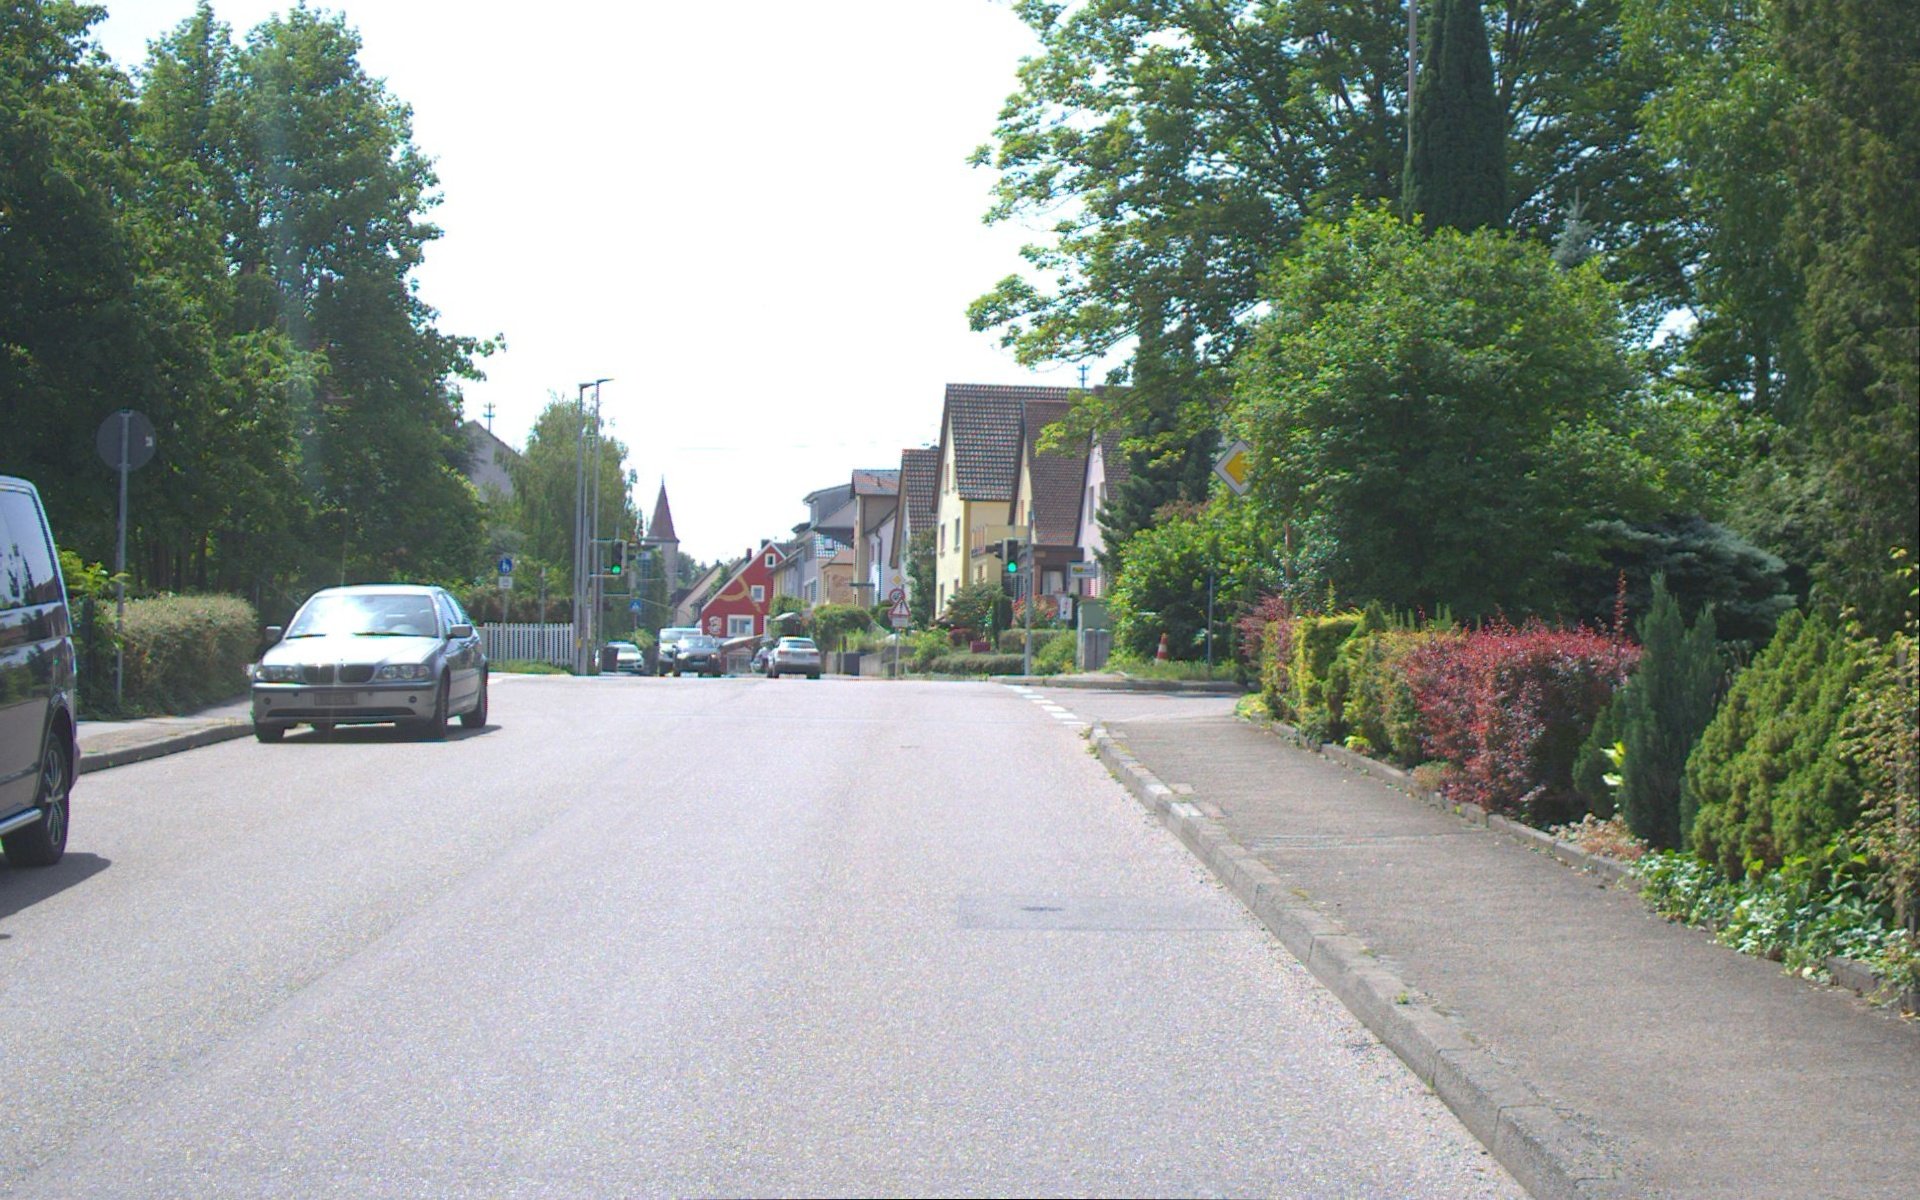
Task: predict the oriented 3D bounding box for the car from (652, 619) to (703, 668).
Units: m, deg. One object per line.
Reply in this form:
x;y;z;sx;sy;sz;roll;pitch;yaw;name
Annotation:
-11.987;1.857;145.792;1.879;1.958;4.903;-1;-2;-8;car

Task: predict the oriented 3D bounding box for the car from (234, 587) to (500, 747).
-5.498;0.604;32.388;1.780;1.390;4.409;0;0;-1;car

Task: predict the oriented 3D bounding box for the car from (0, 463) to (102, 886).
-5.288;0.351;15.373;1.896;1.913;4.871;-1;1;-3;car

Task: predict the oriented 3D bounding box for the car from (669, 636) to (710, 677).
-10.601;2.205;134.504;1.534;1.536;4.305;1;0;-5;car

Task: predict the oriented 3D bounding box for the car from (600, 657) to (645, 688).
-17.643;3.801;180.097;2.110;1.555;4.314;1;-1;-3;car

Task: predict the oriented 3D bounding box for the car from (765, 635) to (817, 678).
-6.591;2.198;134.467;1.993;1.598;4.000;0;0;-2;car
